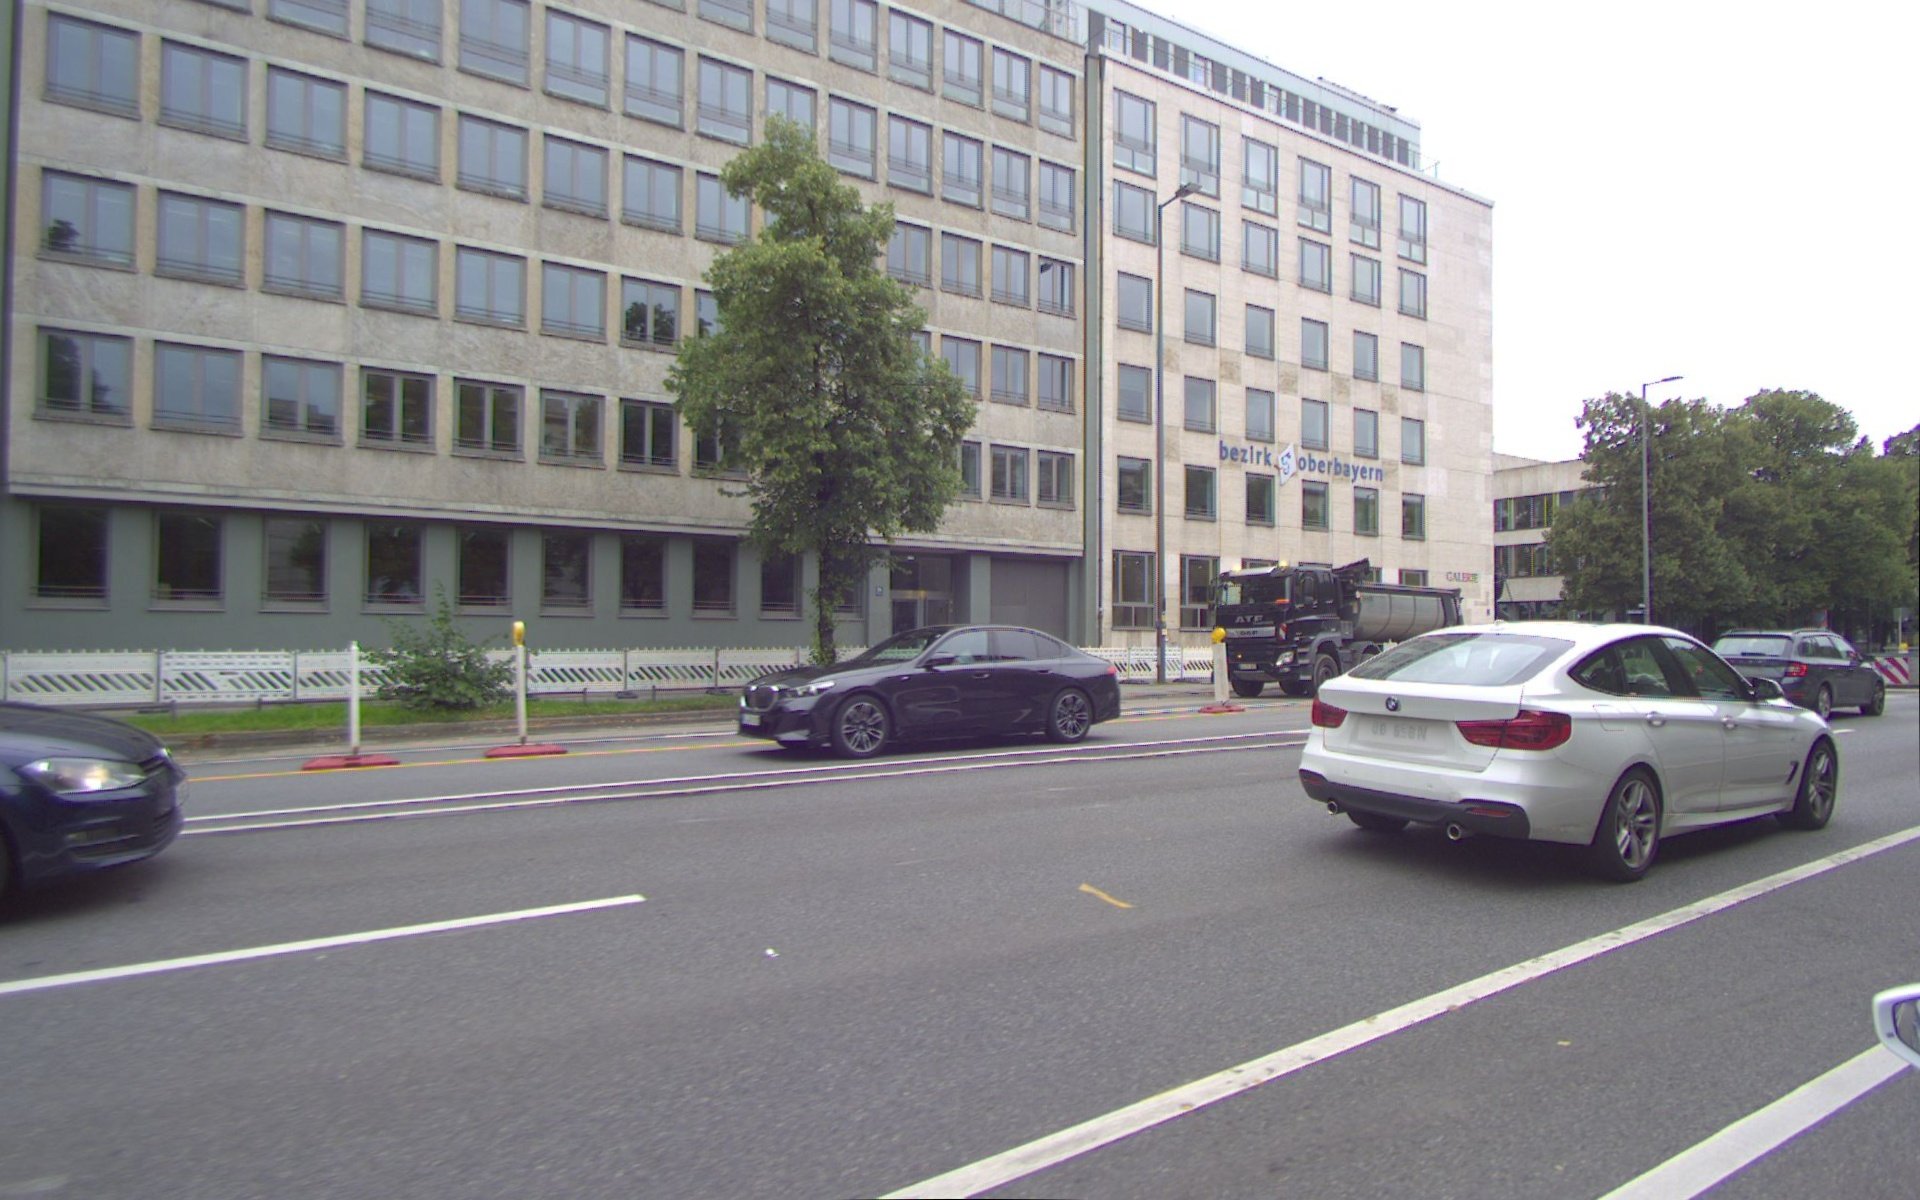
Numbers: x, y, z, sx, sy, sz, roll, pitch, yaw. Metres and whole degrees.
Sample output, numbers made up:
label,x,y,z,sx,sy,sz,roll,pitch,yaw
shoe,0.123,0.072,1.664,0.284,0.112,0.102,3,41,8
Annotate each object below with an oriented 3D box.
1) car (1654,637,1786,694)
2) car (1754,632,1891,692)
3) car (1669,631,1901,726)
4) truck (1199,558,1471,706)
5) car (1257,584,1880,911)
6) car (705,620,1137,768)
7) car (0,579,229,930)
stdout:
label,x,y,z,sx,sy,sz,roll,pitch,yaw
car,23.003,1.940,30.386,3.958,1.617,1.982,2,-3,-34
car,24.852,1.760,28.915,3.958,1.617,1.982,2,-3,-34
car,14.264,1.295,17.324,4.226,1.466,1.784,2,-2,-31
truck,10.255,0.831,26.901,8.689,3.401,2.818,2,-1,-39
car,4.528,0.842,7.203,4.970,1.658,1.783,2,-2,-32
car,-0.325,1.033,12.365,5.164,1.484,1.864,2,-3,-35
car,-5.914,0.666,4.335,4.290,1.536,1.683,2,-2,-32
